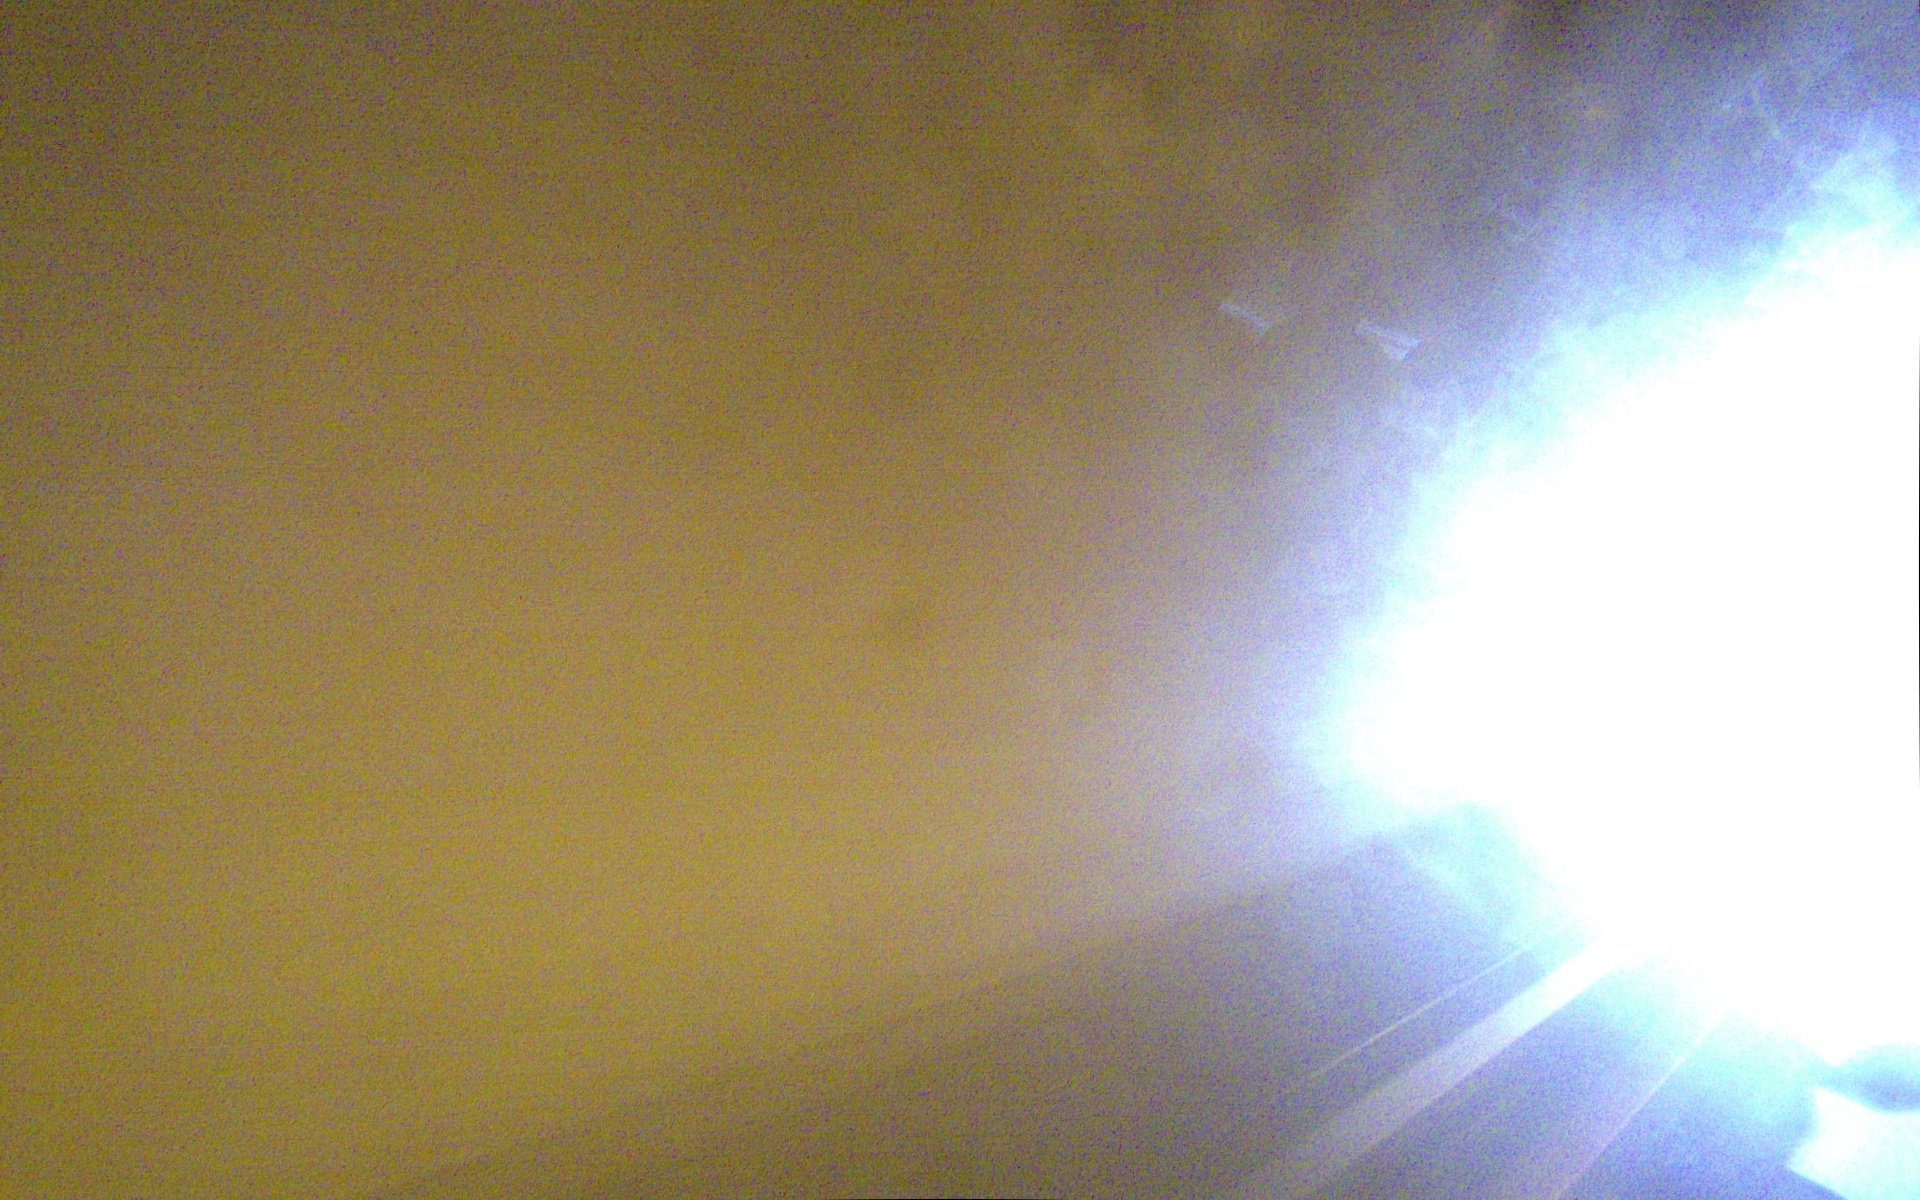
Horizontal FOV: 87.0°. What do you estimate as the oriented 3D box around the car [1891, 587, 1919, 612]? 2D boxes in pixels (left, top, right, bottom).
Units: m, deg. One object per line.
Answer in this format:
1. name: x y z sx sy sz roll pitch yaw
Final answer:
1. car: 72.323 -0.009 76.633 1.695 1.793 3.960 3 2 29
